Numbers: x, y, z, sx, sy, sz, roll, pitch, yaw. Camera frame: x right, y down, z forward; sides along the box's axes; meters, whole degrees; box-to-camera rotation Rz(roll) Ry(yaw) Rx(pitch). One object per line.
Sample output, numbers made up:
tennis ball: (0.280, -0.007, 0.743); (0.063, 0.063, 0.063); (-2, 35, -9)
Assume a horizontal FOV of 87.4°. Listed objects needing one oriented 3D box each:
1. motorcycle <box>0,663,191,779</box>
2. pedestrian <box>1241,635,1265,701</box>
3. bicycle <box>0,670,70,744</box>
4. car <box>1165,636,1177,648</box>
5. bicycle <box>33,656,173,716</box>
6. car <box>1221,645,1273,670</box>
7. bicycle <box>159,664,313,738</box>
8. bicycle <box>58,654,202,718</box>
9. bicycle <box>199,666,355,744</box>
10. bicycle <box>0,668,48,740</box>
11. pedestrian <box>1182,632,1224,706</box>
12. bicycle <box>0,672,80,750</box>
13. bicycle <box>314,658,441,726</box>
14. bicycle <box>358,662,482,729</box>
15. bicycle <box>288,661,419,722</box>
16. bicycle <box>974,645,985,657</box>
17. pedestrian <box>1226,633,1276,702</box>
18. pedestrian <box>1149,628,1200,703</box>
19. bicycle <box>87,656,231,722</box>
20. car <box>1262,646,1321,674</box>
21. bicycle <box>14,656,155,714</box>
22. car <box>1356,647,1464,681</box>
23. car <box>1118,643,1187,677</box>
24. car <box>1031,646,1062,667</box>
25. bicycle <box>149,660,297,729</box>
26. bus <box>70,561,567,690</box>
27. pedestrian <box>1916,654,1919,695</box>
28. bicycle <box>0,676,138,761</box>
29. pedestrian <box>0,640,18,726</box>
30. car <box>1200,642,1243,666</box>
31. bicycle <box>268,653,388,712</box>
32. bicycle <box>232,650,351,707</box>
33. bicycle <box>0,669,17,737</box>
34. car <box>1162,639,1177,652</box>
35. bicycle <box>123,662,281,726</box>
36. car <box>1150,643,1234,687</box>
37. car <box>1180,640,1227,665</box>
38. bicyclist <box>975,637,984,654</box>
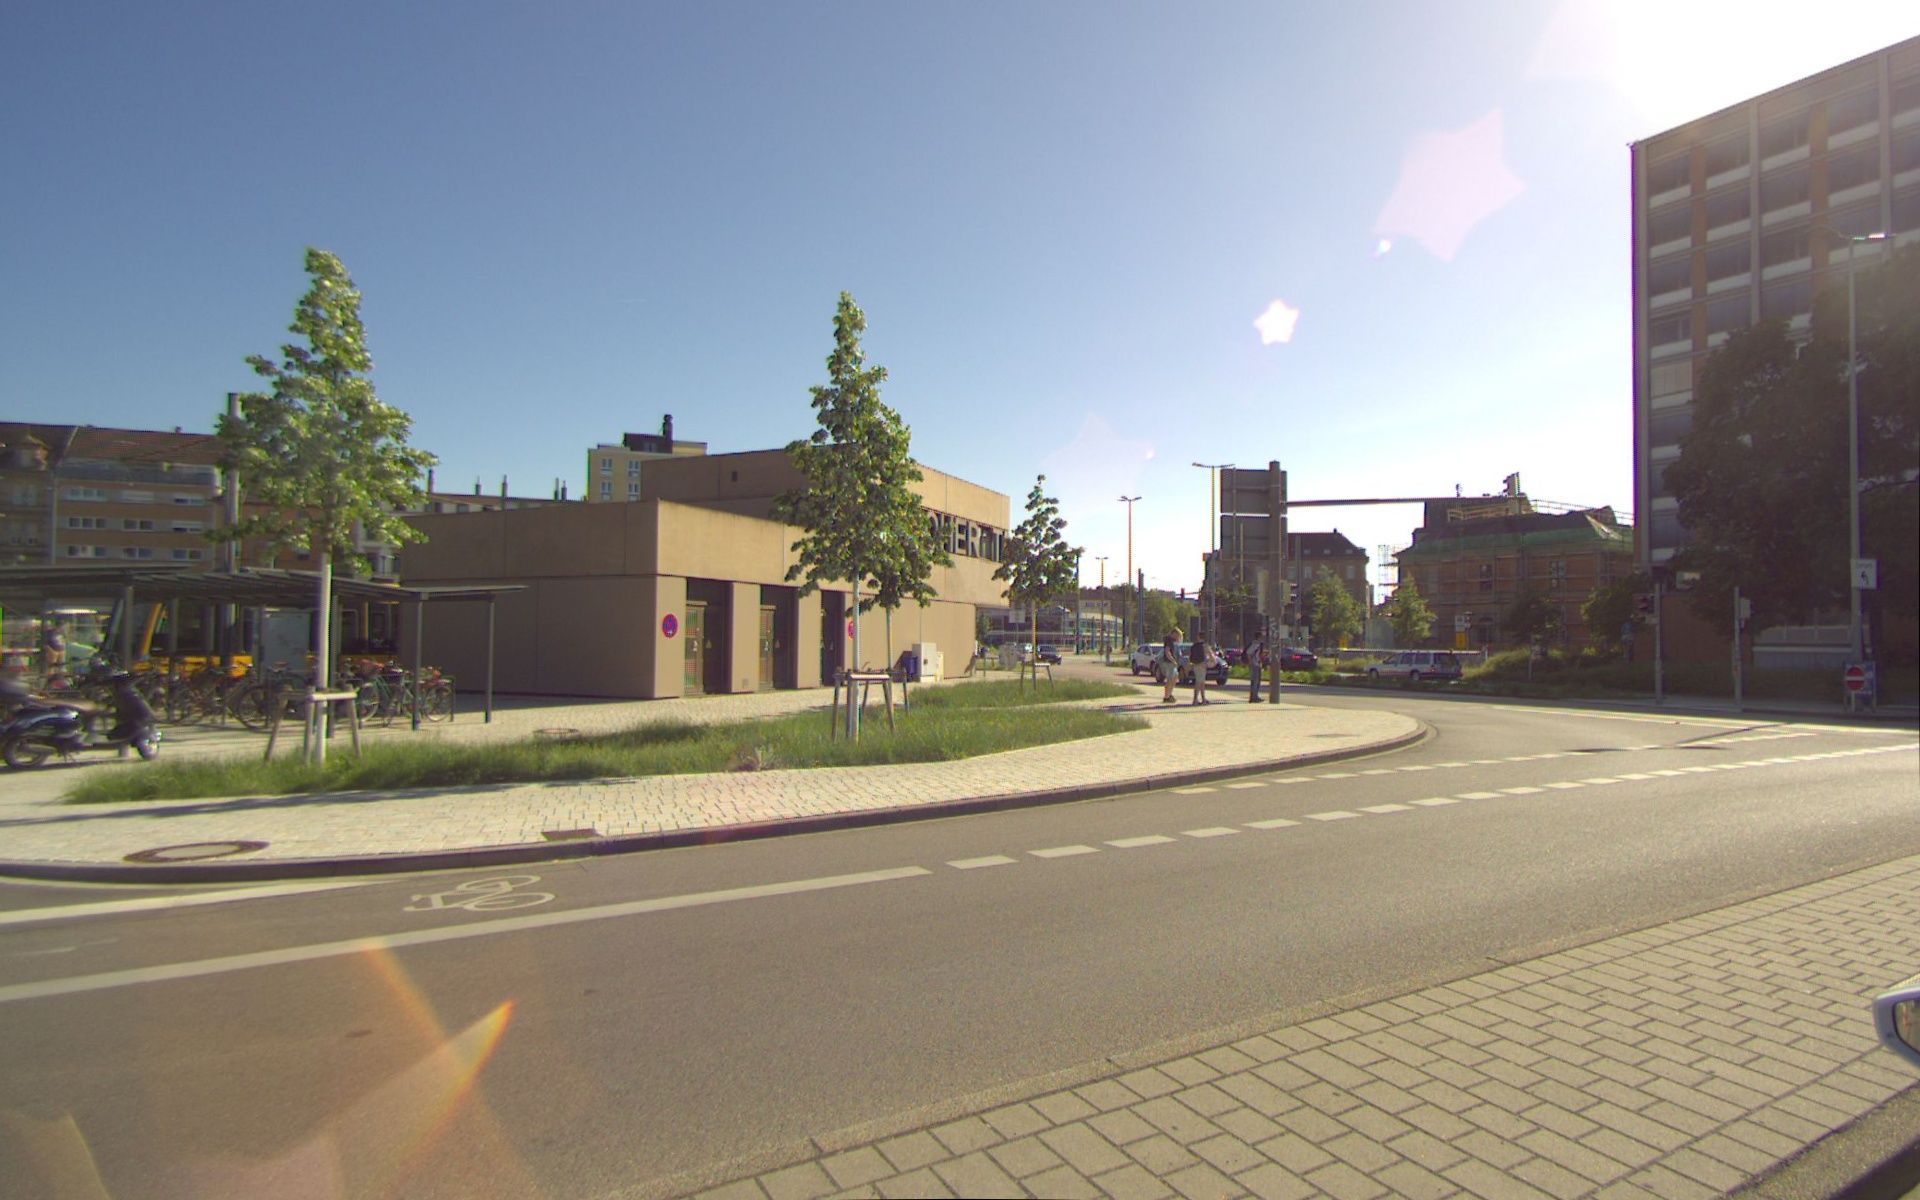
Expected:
motorcycle: (-10.849, 1.444, 12.474); (0.558, 1.235, 2.087); (0, -1, 21)
pedestrian: (7.898, 1.814, 27.069); (0.585, 1.751, 0.580); (0, -2, 14)
bicycle: (-13.697, 1.528, 14.171); (0.399, 0.985, 1.683); (2, 0, 22)
car: (37.425, 7.495, 178.104); (1.959, 2.040, 4.003); (0, -2, 11)
bicycle: (-16.884, 1.674, 19.846); (0.524, 1.051, 2.070); (-2, -2, 26)
car: (19.733, 3.940, 69.322); (1.810, 1.653, 4.382); (1, -2, -8)
bicycle: (-12.017, 1.648, 16.754); (0.524, 1.051, 2.070); (2, 0, 26)
bicycle: (-15.903, 1.620, 19.317); (0.524, 1.051, 2.070); (5, 1, 26)
bicycle: (-10.904, 1.646, 16.131); (0.524, 1.051, 2.070); (2, 0, 26)
bicycle: (-14.201, 1.522, 14.373); (0.399, 0.985, 1.683); (2, 0, 22)
pedestrian: (5.831, 1.658, 24.118); (0.774, 1.711, 0.795); (1, -5, -3)
bicycle: (-13.231, 1.540, 13.810); (0.399, 0.985, 1.683); (2, 0, 22)
bicycle: (-10.798, 1.680, 18.696); (0.594, 1.093, 2.053); (2, 0, 25)
bicycle: (-9.847, 1.722, 18.403); (0.524, 1.051, 2.070); (2, 0, 26)
bicycle: (-11.763, 1.746, 19.569); (0.679, 1.011, 2.140); (2, 0, 26)
bicycle: (1.714, 4.567, 89.267); (0.727, 1.008, 1.990); (0, -4, -6)
pedestrian: (7.404, 1.726, 25.591); (0.831, 1.711, 0.896); (5, -5, -34)
pedestrian: (5.332, 1.635, 25.018); (1.082, 1.822, 0.705); (1, -4, -3)
bicycle: (-15.018, 1.637, 18.903); (0.524, 1.051, 2.070); (5, 1, 26)
car: (20.700, 3.715, 62.898); (1.810, 1.653, 4.382); (1, -2, -8)
bicycle: (-17.773, 1.694, 20.454); (0.524, 1.051, 2.070); (5, 0, 26)
car: (20.523, 2.882, 46.079); (1.814, 1.406, 4.884); (1, -2, -16)
car: (10.076, 3.140, 52.895); (1.813, 1.640, 4.691); (3, -4, -13)
car: (6.701, 4.436, 78.482); (1.784, 1.524, 4.785); (-1, -3, -3)
bicycle: (-12.899, 1.626, 17.654); (0.524, 1.051, 2.070); (2, 0, 26)
bus: (-18.516, 0.861, 31.178); (2.810, 3.112, 13.620); (0, -2, 25)
pedestrian: (37.318, 2.835, 38.411); (0.550, 1.591, 0.861); (0, -4, -15)
bicycle: (-12.203, 1.570, 13.575); (0.399, 0.985, 1.683); (2, 0, 22)
pedestrian: (-22.060, 1.867, 22.695); (0.787, 1.942, 0.770); (0, -2, 8)
car: (19.615, 4.030, 75.504); (1.809, 1.653, 4.386); (1, -2, -4)
bicycle: (-12.744, 1.644, 20.325); (0.524, 1.051, 2.070); (2, 0, 26)
bicycle: (-13.918, 1.612, 20.990); (0.524, 1.051, 2.070); (2, 0, 26)
bicycle: (-14.719, 1.537, 14.422); (0.399, 0.985, 1.683); (2, 0, 22)
car: (34.046, 7.371, 163.165); (1.959, 2.040, 4.003); (0, -2, 7)
bicycle: (-13.710, 1.674, 18.258); (0.673, 0.956, 2.233); (2, 0, 25)
car: (9.103, 2.554, 39.845); (1.761, 1.602, 4.252); (0, -3, -9)
car: (16.925, 3.651, 70.020); (1.809, 1.653, 4.384); (1, -2, -6)
bicyclist: (1.719, 4.035, 89.294); (0.727, 1.519, 1.072); (0, -3, -6)
